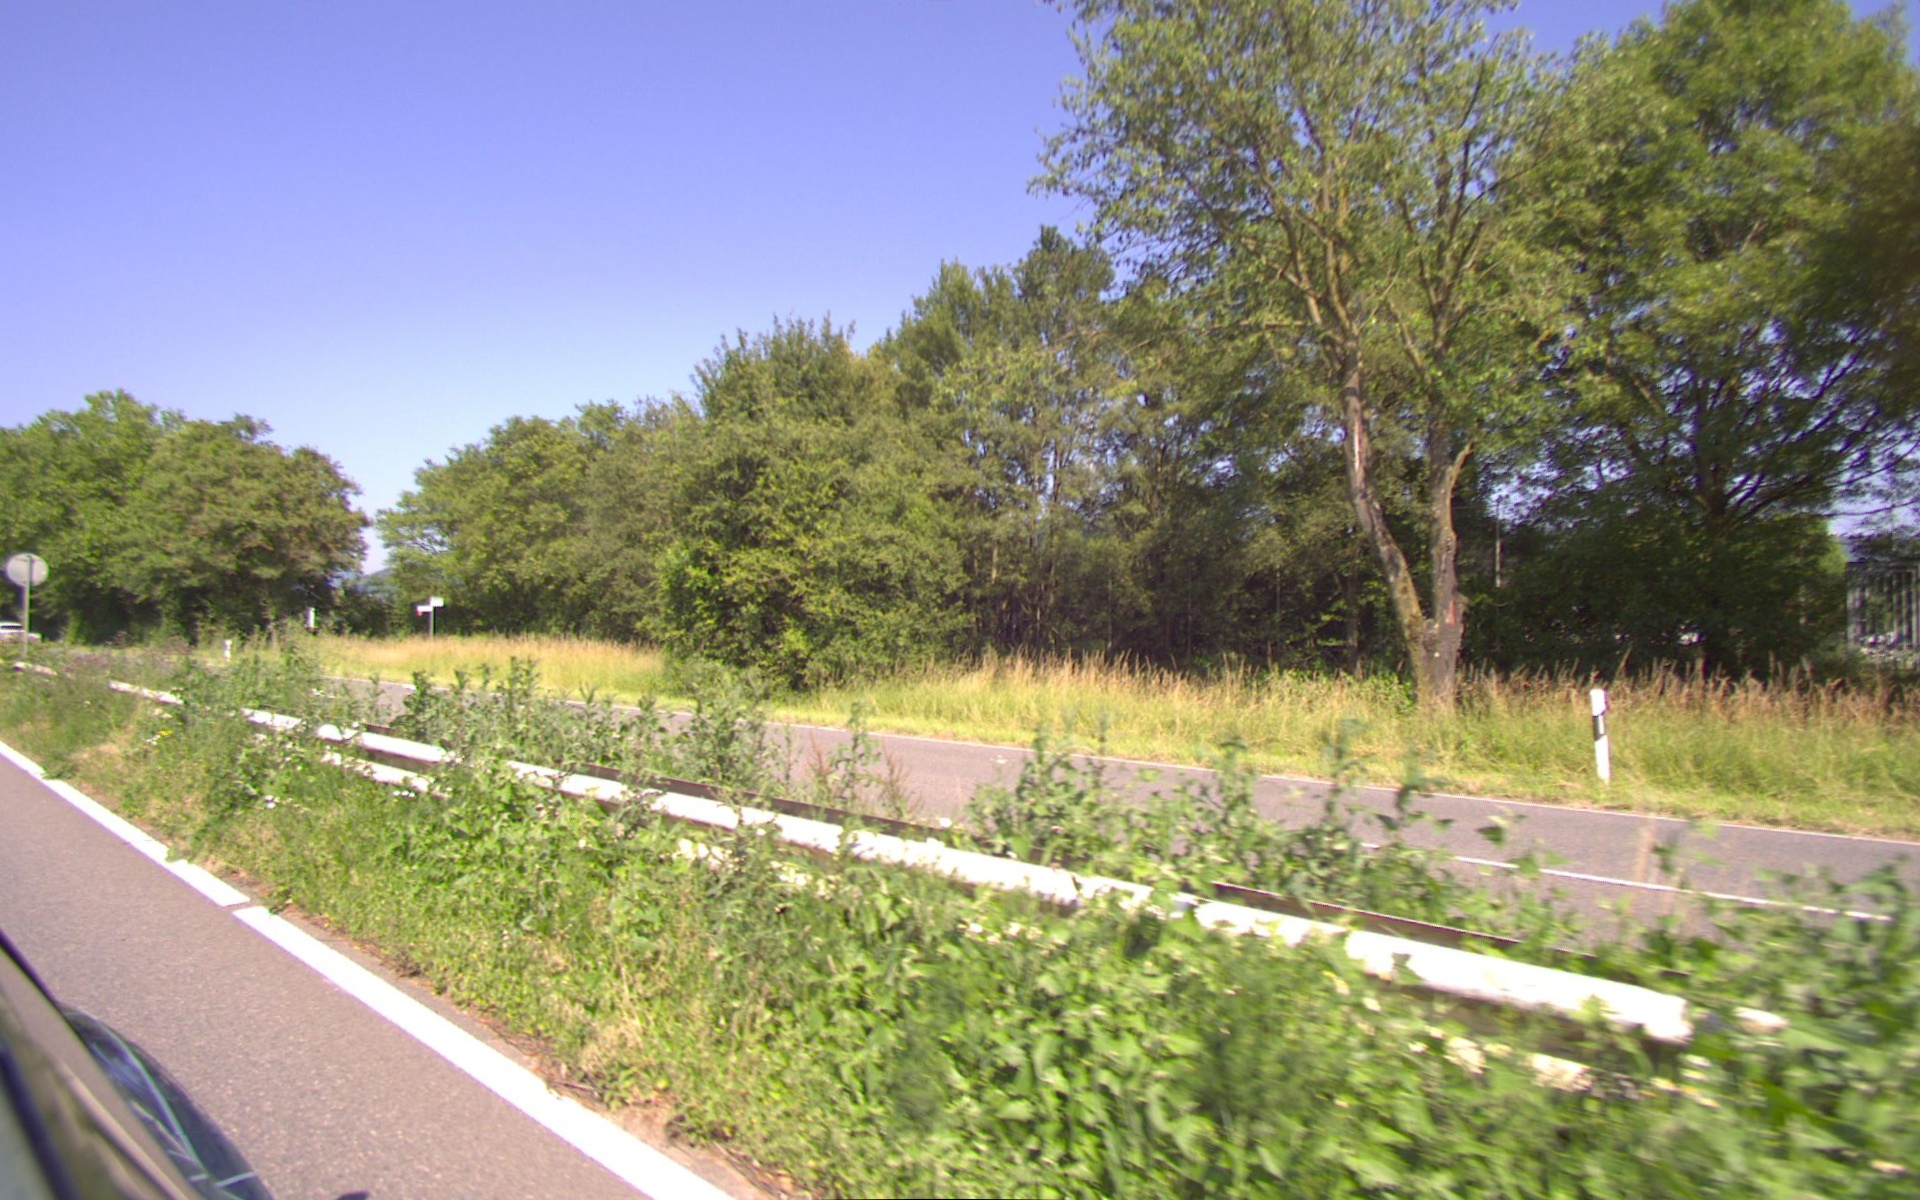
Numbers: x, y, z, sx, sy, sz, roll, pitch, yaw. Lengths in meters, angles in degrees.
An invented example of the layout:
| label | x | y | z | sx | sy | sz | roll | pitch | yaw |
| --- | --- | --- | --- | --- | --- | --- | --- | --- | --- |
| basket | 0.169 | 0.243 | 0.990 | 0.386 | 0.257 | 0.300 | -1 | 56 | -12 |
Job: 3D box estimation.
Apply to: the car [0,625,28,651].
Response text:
| label | x | y | z | sx | sy | sz | roll | pitch | yaw |
| --- | --- | --- | --- | --- | --- | --- | --- | --- | --- |
| car | -67.787 | 2.669 | 71.745 | 4.811 | 1.713 | 1.973 | -1 | -5 | 41 |

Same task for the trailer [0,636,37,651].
| label | x | y | z | sx | sy | sz | roll | pitch | yaw |
| --- | --- | --- | --- | --- | --- | --- | --- | --- | --- |
| trailer | -63.931 | 2.931 | 68.240 | 5.596 | 0.968 | 1.943 | -2 | -4 | 42 |
